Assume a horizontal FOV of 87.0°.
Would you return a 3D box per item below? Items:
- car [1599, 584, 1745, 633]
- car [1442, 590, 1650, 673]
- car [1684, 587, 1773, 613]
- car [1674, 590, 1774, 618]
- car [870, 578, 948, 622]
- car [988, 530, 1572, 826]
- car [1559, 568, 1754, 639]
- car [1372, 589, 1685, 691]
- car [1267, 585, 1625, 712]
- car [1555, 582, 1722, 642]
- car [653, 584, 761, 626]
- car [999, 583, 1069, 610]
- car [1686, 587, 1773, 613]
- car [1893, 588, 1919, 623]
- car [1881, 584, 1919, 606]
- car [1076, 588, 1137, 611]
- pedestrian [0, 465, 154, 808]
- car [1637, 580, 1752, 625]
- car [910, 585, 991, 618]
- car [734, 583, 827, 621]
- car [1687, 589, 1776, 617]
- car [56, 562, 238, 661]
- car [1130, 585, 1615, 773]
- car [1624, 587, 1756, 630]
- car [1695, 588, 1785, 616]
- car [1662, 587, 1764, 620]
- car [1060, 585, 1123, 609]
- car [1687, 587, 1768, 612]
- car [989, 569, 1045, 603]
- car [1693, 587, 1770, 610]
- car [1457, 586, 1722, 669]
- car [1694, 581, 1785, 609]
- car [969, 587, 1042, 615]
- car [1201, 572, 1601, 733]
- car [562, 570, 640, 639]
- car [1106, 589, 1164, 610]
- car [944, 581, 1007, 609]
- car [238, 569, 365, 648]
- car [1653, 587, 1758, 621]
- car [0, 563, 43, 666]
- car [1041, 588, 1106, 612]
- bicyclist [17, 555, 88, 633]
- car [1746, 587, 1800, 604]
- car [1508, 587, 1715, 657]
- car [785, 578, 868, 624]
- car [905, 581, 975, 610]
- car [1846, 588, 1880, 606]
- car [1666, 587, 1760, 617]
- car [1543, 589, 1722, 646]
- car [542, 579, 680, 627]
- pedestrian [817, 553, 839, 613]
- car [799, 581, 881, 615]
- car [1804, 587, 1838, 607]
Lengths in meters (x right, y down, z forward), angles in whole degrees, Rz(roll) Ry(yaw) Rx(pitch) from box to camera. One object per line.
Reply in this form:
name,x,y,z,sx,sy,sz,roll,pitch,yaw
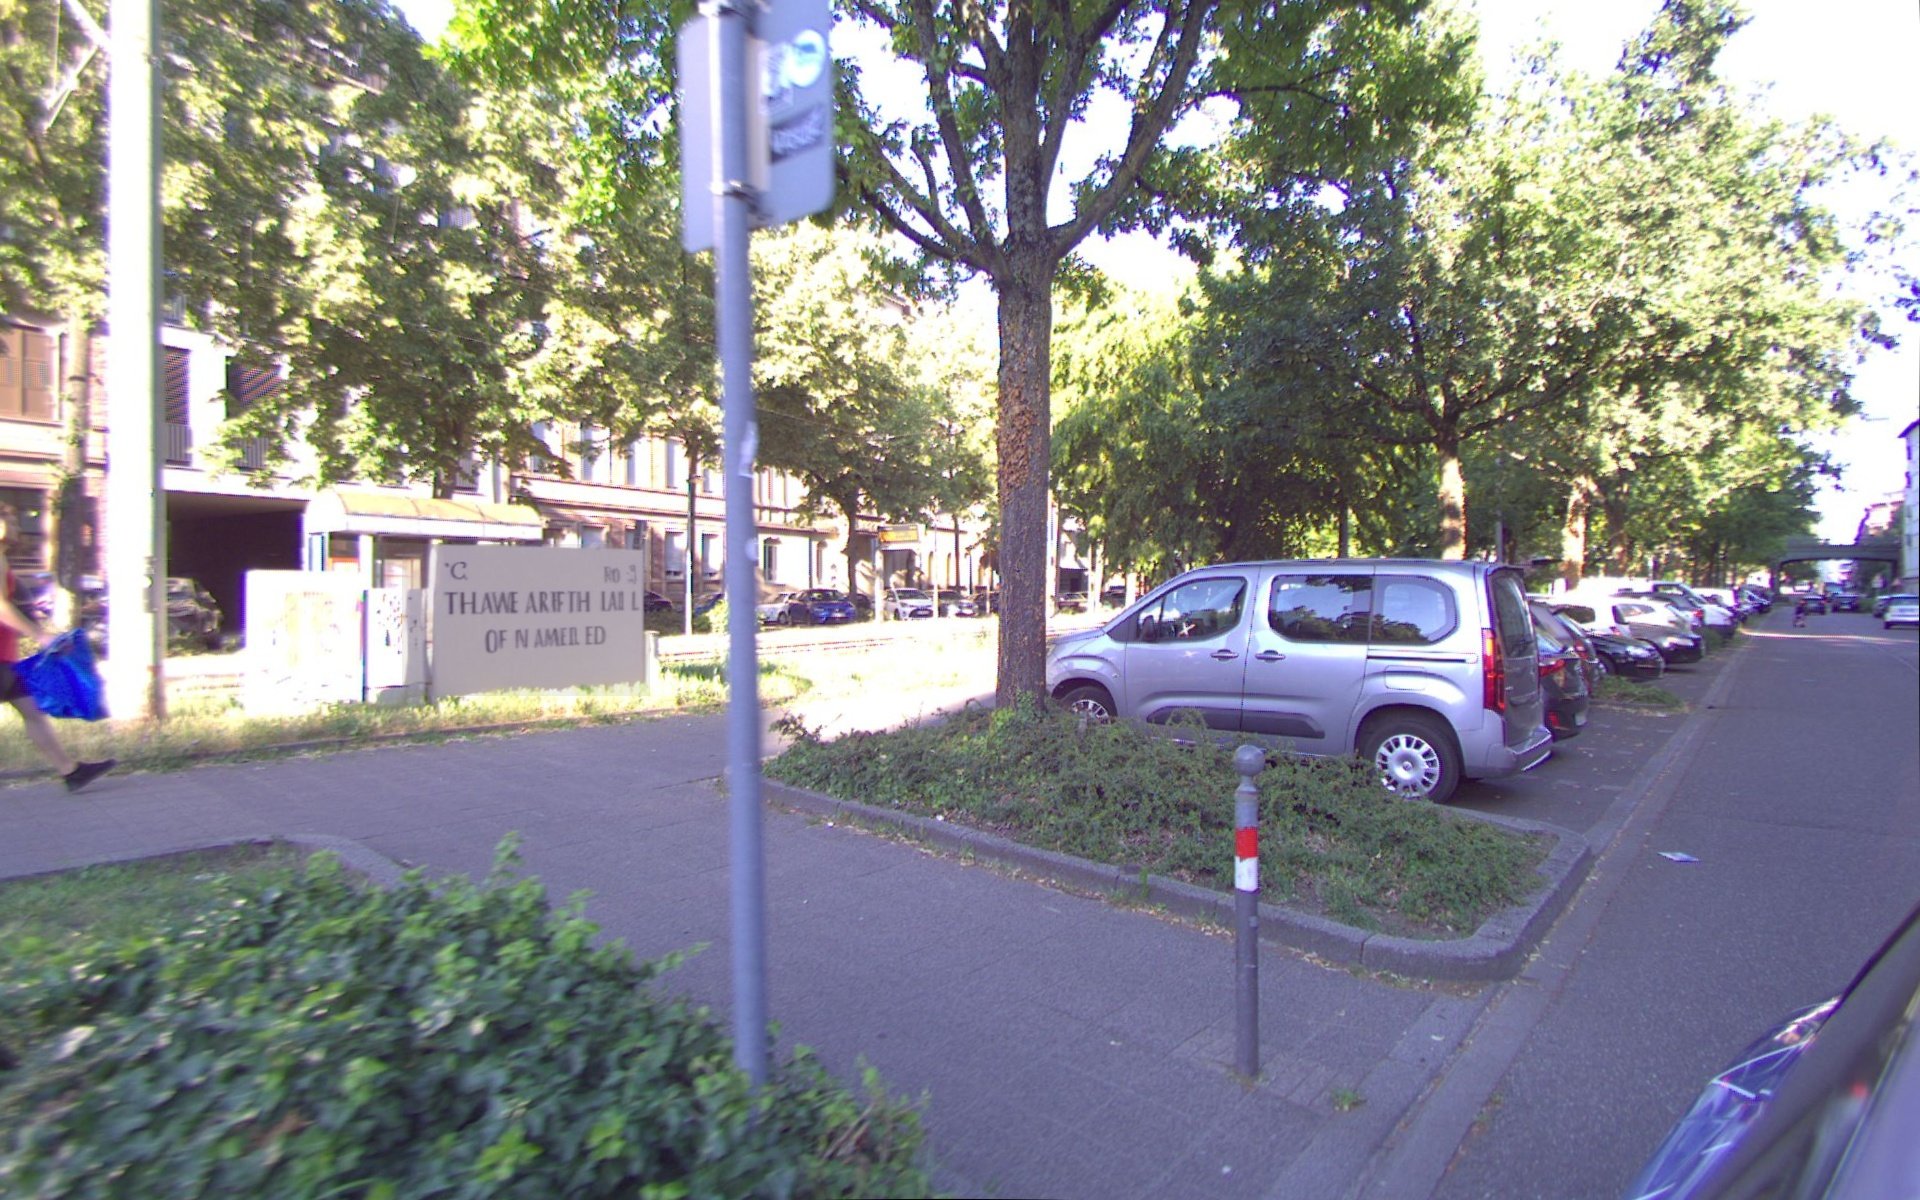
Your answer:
car,24.644,0.257,35.092,3.984,1.573,1.659,2,1,41
car,11.903,0.573,20.651,3.398,1.533,1.692,1,0,43
car,46.876,-0.021,61.784,4.249,1.507,1.659,2,1,41
car,39.161,0.184,51.924,3.984,1.355,1.659,2,1,41
car,-2.170,-0.028,42.026,1.772,1.716,4.290,0,1,-25
car,2.573,0.463,8.899,4.537,1.938,1.920,1,2,43
car,21.826,0.049,31.805,4.840,2.063,2.123,2,1,41
car,10.286,0.619,18.560,4.699,1.592,1.969,1,2,43
car,7.198,0.593,15.302,4.537,1.592,1.920,1,2,43
car,20.031,0.298,29.940,3.980,1.600,1.741,2,1,39
car,-10.233,0.153,41.252,1.981,1.587,4.202,1,1,28
car,3.735,-0.223,51.838,1.713,1.295,4.006,0,1,-28
car,48.304,-0.045,63.552,4.249,1.507,1.659,2,1,41
car,44.386,0.209,46.580,1.873,1.556,4.329,-2,-1,40
car,65.598,-0.369,70.467,1.873,1.460,4.329,-2,-1,40
car,8.998,-0.041,62.443,1.713,1.295,4.006,0,1,-28
pedestrian,-5.693,0.198,6.126,0.901,1.942,1.133,1,1,41
car,32.391,0.062,44.699,3.984,1.855,1.659,2,1,41
car,-0.467,0.047,44.023,1.772,1.295,4.288,0,1,-28
car,-7.982,0.066,45.468,1.981,1.587,4.202,1,1,28
car,44.210,0.128,58.050,3.984,1.507,1.659,2,1,41
car,-15.402,0.138,19.445,1.890,1.655,4.559,0,1,-28
car,4.293,0.651,11.027,4.537,1.592,1.920,1,2,43
car,27.989,0.288,38.861,3.984,1.507,1.659,2,1,41
car,45.994,0.108,59.713,4.117,1.541,1.659,2,1,41
car,37.609,0.141,50.616,3.984,1.507,1.659,2,1,41
car,7.781,-0.193,60.349,1.713,1.295,4.006,0,1,-28
car,49.805,-0.071,65.728,4.117,1.507,1.659,2,1,41
car,3.885,-0.943,67.812,1.982,2.199,4.566,1,1,29
car,52.752,-0.123,69.239,4.117,1.507,1.659,2,1,41
car,13.731,0.512,22.266,4.699,1.592,1.969,1,2,43
car,56.029,-0.388,72.810,5.078,1.865,1.805,2,1,41
car,2.175,0.025,49.392,1.713,1.295,4.006,0,1,-28
car,5.544,0.527,12.949,4.421,1.712,1.926,0,2,35
car,-9.991,0.067,28.278,1.889,1.743,4.563,0,1,-19
car,11.723,-0.067,67.839,1.713,1.295,4.006,0,1,-28
car,1.024,-0.327,62.125,1.982,1.587,4.566,1,1,29
car,-13.987,0.113,21.745,1.890,1.505,4.559,0,1,-28
car,35.898,0.173,48.769,3.984,1.507,1.659,2,1,41
car,-16.764,0.251,16.586,1.707,1.709,4.423,0,0,-31
car,6.402,-0.019,57.508,1.713,1.295,4.006,0,1,-28
bicyclist,-19.055,-0.119,21.258,0.693,1.609,0.867,0,-1,23
car,86.554,-0.480,107.736,4.372,1.707,1.855,-2,-1,41
car,15.525,0.464,24.235,3.984,1.479,1.659,2,1,41
car,-4.879,-0.004,36.472,1.772,1.505,4.290,0,1,-25
car,-1.088,-0.288,57.982,1.982,1.587,4.566,1,1,29
car,74.405,-0.242,83.439,1.873,1.460,4.329,-2,-1,40
car,40.878,0.088,54.999,3.984,1.507,1.659,2,1,41
car,18.714,0.430,28.265,3.984,1.441,1.659,2,1,41
car,-12.579,0.061,36.728,1.984,1.587,4.542,1,1,31
pedestrian,-6.640,-0.867,50.917,0.912,2.984,0.693,0,0,29
car,-5.783,-0.133,49.221,1.981,1.587,4.202,1,1,28
car,66.791,-0.233,78.495,1.874,1.449,4.328,-2,-1,41
